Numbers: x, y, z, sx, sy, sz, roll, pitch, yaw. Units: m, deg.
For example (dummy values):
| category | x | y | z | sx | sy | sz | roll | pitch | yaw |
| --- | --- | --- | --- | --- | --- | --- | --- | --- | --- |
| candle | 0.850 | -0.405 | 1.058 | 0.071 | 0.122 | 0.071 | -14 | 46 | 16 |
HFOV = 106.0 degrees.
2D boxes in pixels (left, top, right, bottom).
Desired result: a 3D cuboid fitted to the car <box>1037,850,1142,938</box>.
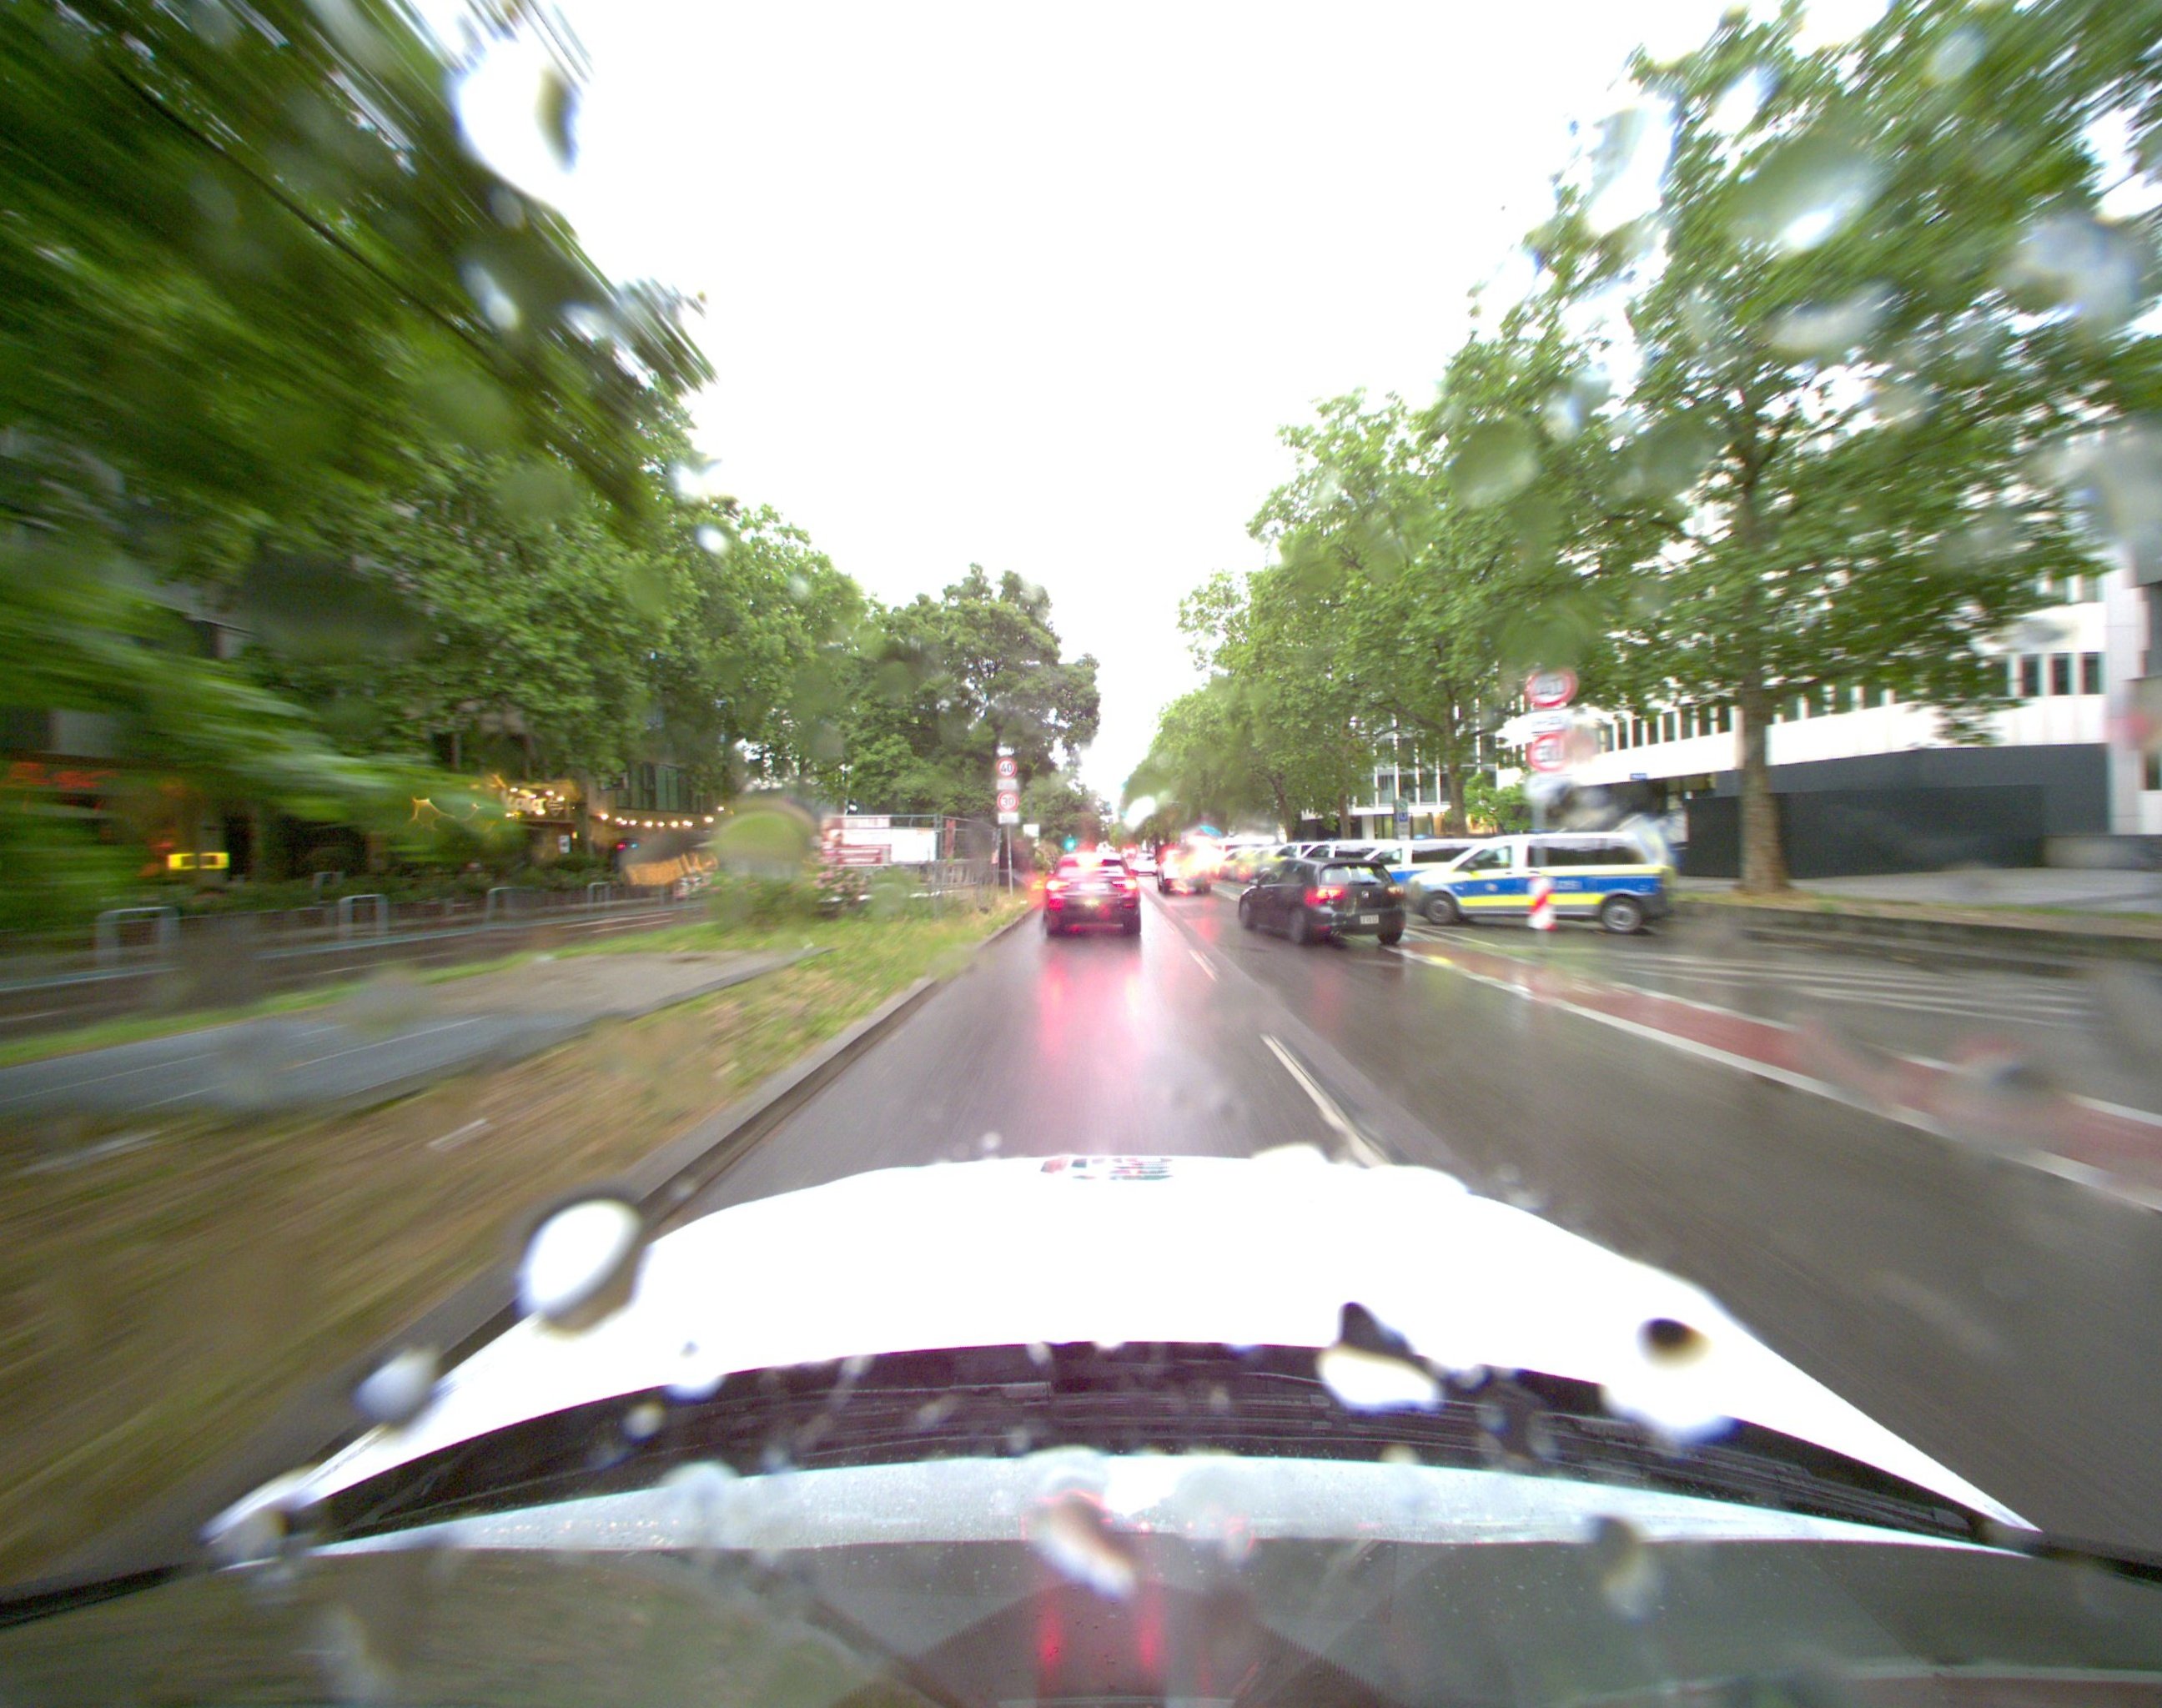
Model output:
| category | x | y | z | sx | sy | sz | roll | pitch | yaw |
| --- | --- | --- | --- | --- | --- | --- | --- | --- | --- |
| car | 0.271 | 0.703 | 16.846 | 1.855 | 1.532 | 4.530 | -1 | 0 | 3 |

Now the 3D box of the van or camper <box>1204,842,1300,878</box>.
| category | x | y | z | sx | sy | sz | roll | pitch | yaw |
| --- | --- | --- | --- | --- | --- | --- | --- | --- | --- |
| van or camper | 9.995 | 0.367 | 47.770 | 5.142 | 1.992 | 2.013 | -1 | -1 | 36 |

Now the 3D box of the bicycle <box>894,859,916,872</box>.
| category | x | y | z | sx | sy | sz | roll | pitch | yaw |
| --- | --- | --- | --- | --- | --- | --- | --- | --- | --- |
| bicycle | -16.052 | 1.025 | 74.370 | 1.842 | 1.098 | 0.613 | -2 | 0 | -7 |

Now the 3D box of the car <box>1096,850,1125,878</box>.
| category | x | y | z | sx | sy | sz | roll | pitch | yaw |
| --- | --- | --- | --- | --- | --- | --- | --- | --- | --- |
| car | 1.790 | 0.586 | 49.940 | 1.715 | 1.577 | 3.963 | -2 | 0 | 1 |

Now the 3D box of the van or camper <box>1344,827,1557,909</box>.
| category | x | y | z | sx | sy | sz | roll | pitch | yaw |
| --- | --- | --- | --- | --- | --- | --- | --- | --- | --- |
| van or camper | 10.108 | 0.342 | 22.505 | 5.023 | 2.019 | 2.010 | 0 | 0 | 38 |

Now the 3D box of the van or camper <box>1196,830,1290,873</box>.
| category | x | y | z | sx | sy | sz | roll | pitch | yaw |
| --- | --- | --- | --- | --- | --- | --- | --- | --- | --- |
| van or camper | 10.762 | -0.141 | 54.307 | 5.736 | 2.680 | 2.013 | -2 | 0 | 37 |

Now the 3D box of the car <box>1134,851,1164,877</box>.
| category | x | y | z | sx | sy | sz | roll | pitch | yaw |
| --- | --- | --- | --- | --- | --- | --- | --- | --- | --- |
| car | 4.903 | 0.699 | 59.237 | 1.986 | 1.750 | 4.002 | -2 | 0 | 2 |

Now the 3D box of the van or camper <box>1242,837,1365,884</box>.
| category | x | y | z | sx | sy | sz | roll | pitch | yaw |
| --- | --- | --- | --- | --- | --- | --- | --- | --- | --- |
| van or camper | 10.097 | 0.312 | 37.073 | 4.959 | 1.995 | 2.013 | -2 | 0 | 34 |

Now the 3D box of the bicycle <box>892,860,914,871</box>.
| category | x | y | z | sx | sy | sz | roll | pitch | yaw |
| --- | --- | --- | --- | --- | --- | --- | --- | --- | --- |
| bicycle | -16.073 | 1.054 | 73.519 | 1.839 | 0.979 | 0.565 | -2 | 0 | -2 |

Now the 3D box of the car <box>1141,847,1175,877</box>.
| category | x | y | z | sx | sy | sz | roll | pitch | yaw |
| --- | --- | --- | --- | --- | --- | --- | --- | --- | --- |
| car | 4.694 | 0.469 | 49.942 | 1.815 | 1.750 | 4.002 | -2 | 0 | 2 |

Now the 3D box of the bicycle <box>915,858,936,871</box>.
| category | x | y | z | sx | sy | sz | roll | pitch | yaw |
| --- | --- | --- | --- | --- | --- | --- | --- | --- | --- |
| bicycle | -15.244 | 1.046 | 79.831 | 1.841 | 1.136 | 0.565 | -2 | 0 | -5 |

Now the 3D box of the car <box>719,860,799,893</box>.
| category | x | y | z | sx | sy | sz | roll | pitch | yaw |
| --- | --- | --- | --- | --- | --- | --- | --- | --- | --- |
| car | -15.130 | 1.018 | 38.537 | 1.818 | 1.394 | 4.486 | -1 | 0 | 2 |

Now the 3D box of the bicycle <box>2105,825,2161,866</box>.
| category | x | y | z | sx | sy | sz | roll | pitch | yaw |
| --- | --- | --- | --- | --- | --- | --- | --- | --- | --- |
| bicycle | 31.094 | -0.257 | 23.324 | 0.684 | 1.173 | 2.288 | -2 | 0 | 1 |

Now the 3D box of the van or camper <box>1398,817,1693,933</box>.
| category | x | y | z | sx | sy | sz | roll | pitch | yaw |
| --- | --- | --- | --- | --- | --- | --- | --- | --- | --- |
| van or camper | 9.212 | 0.375 | 16.393 | 4.884 | 1.992 | 2.015 | -1 | 0 | 39 |

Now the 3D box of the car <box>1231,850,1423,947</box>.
| category | x | y | z | sx | sy | sz | roll | pitch | yaw |
| --- | --- | --- | --- | --- | --- | --- | --- | --- | --- |
| car | 4.168 | 0.676 | 14.524 | 1.764 | 1.413 | 3.989 | -2 | 0 | -8 |

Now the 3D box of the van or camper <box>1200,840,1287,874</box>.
| category | x | y | z | sx | sy | sz | roll | pitch | yaw |
| --- | --- | --- | --- | --- | --- | --- | --- | --- | --- |
| van or camper | 10.180 | 0.218 | 51.327 | 4.952 | 2.014 | 2.013 | -2 | -1 | 37 |

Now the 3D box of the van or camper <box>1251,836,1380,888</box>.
| category | x | y | z | sx | sy | sz | roll | pitch | yaw |
| --- | --- | --- | --- | --- | --- | --- | --- | --- | --- |
| van or camper | 9.686 | 0.344 | 33.825 | 4.733 | 2.011 | 2.013 | -1 | -1 | 38 |

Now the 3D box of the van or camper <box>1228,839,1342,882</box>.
| category | x | y | z | sx | sy | sz | roll | pitch | yaw |
| --- | --- | --- | --- | --- | --- | --- | --- | --- | --- |
| van or camper | 10.172 | 0.314 | 40.786 | 5.042 | 2.025 | 2.119 | -1 | 0 | 39 |

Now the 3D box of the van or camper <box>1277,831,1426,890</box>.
| category | x | y | z | sx | sy | sz | roll | pitch | yaw |
| --- | --- | --- | --- | --- | --- | --- | --- | --- | --- |
| van or camper | 9.874 | 0.258 | 29.918 | 4.792 | 1.998 | 1.880 | -1 | 0 | 38 |

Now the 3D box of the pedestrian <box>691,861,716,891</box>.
| category | x | y | z | sx | sy | sz | roll | pitch | yaw |
| --- | --- | --- | --- | --- | --- | --- | --- | --- | --- |
| pedestrian | -18.135 | 1.047 | 39.112 | 0.761 | 1.380 | 0.933 | -1 | 0 | -1 |

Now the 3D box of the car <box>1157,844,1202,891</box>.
| category | x | y | z | sx | sy | sz | roll | pitch | yaw |
| --- | --- | --- | --- | --- | --- | --- | --- | --- | --- |
| car | 3.755 | 0.495 | 31.432 | 1.428 | 1.685 | 2.980 | -2 | 0 | 2 |

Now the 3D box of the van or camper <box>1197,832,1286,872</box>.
| category | x | y | z | sx | sy | sz | roll | pitch | yaw |
| --- | --- | --- | --- | --- | --- | --- | --- | --- | --- |
| van or camper | 11.206 | -0.116 | 57.101 | 5.741 | 2.677 | 2.161 | -1 | 0 | 39 |
